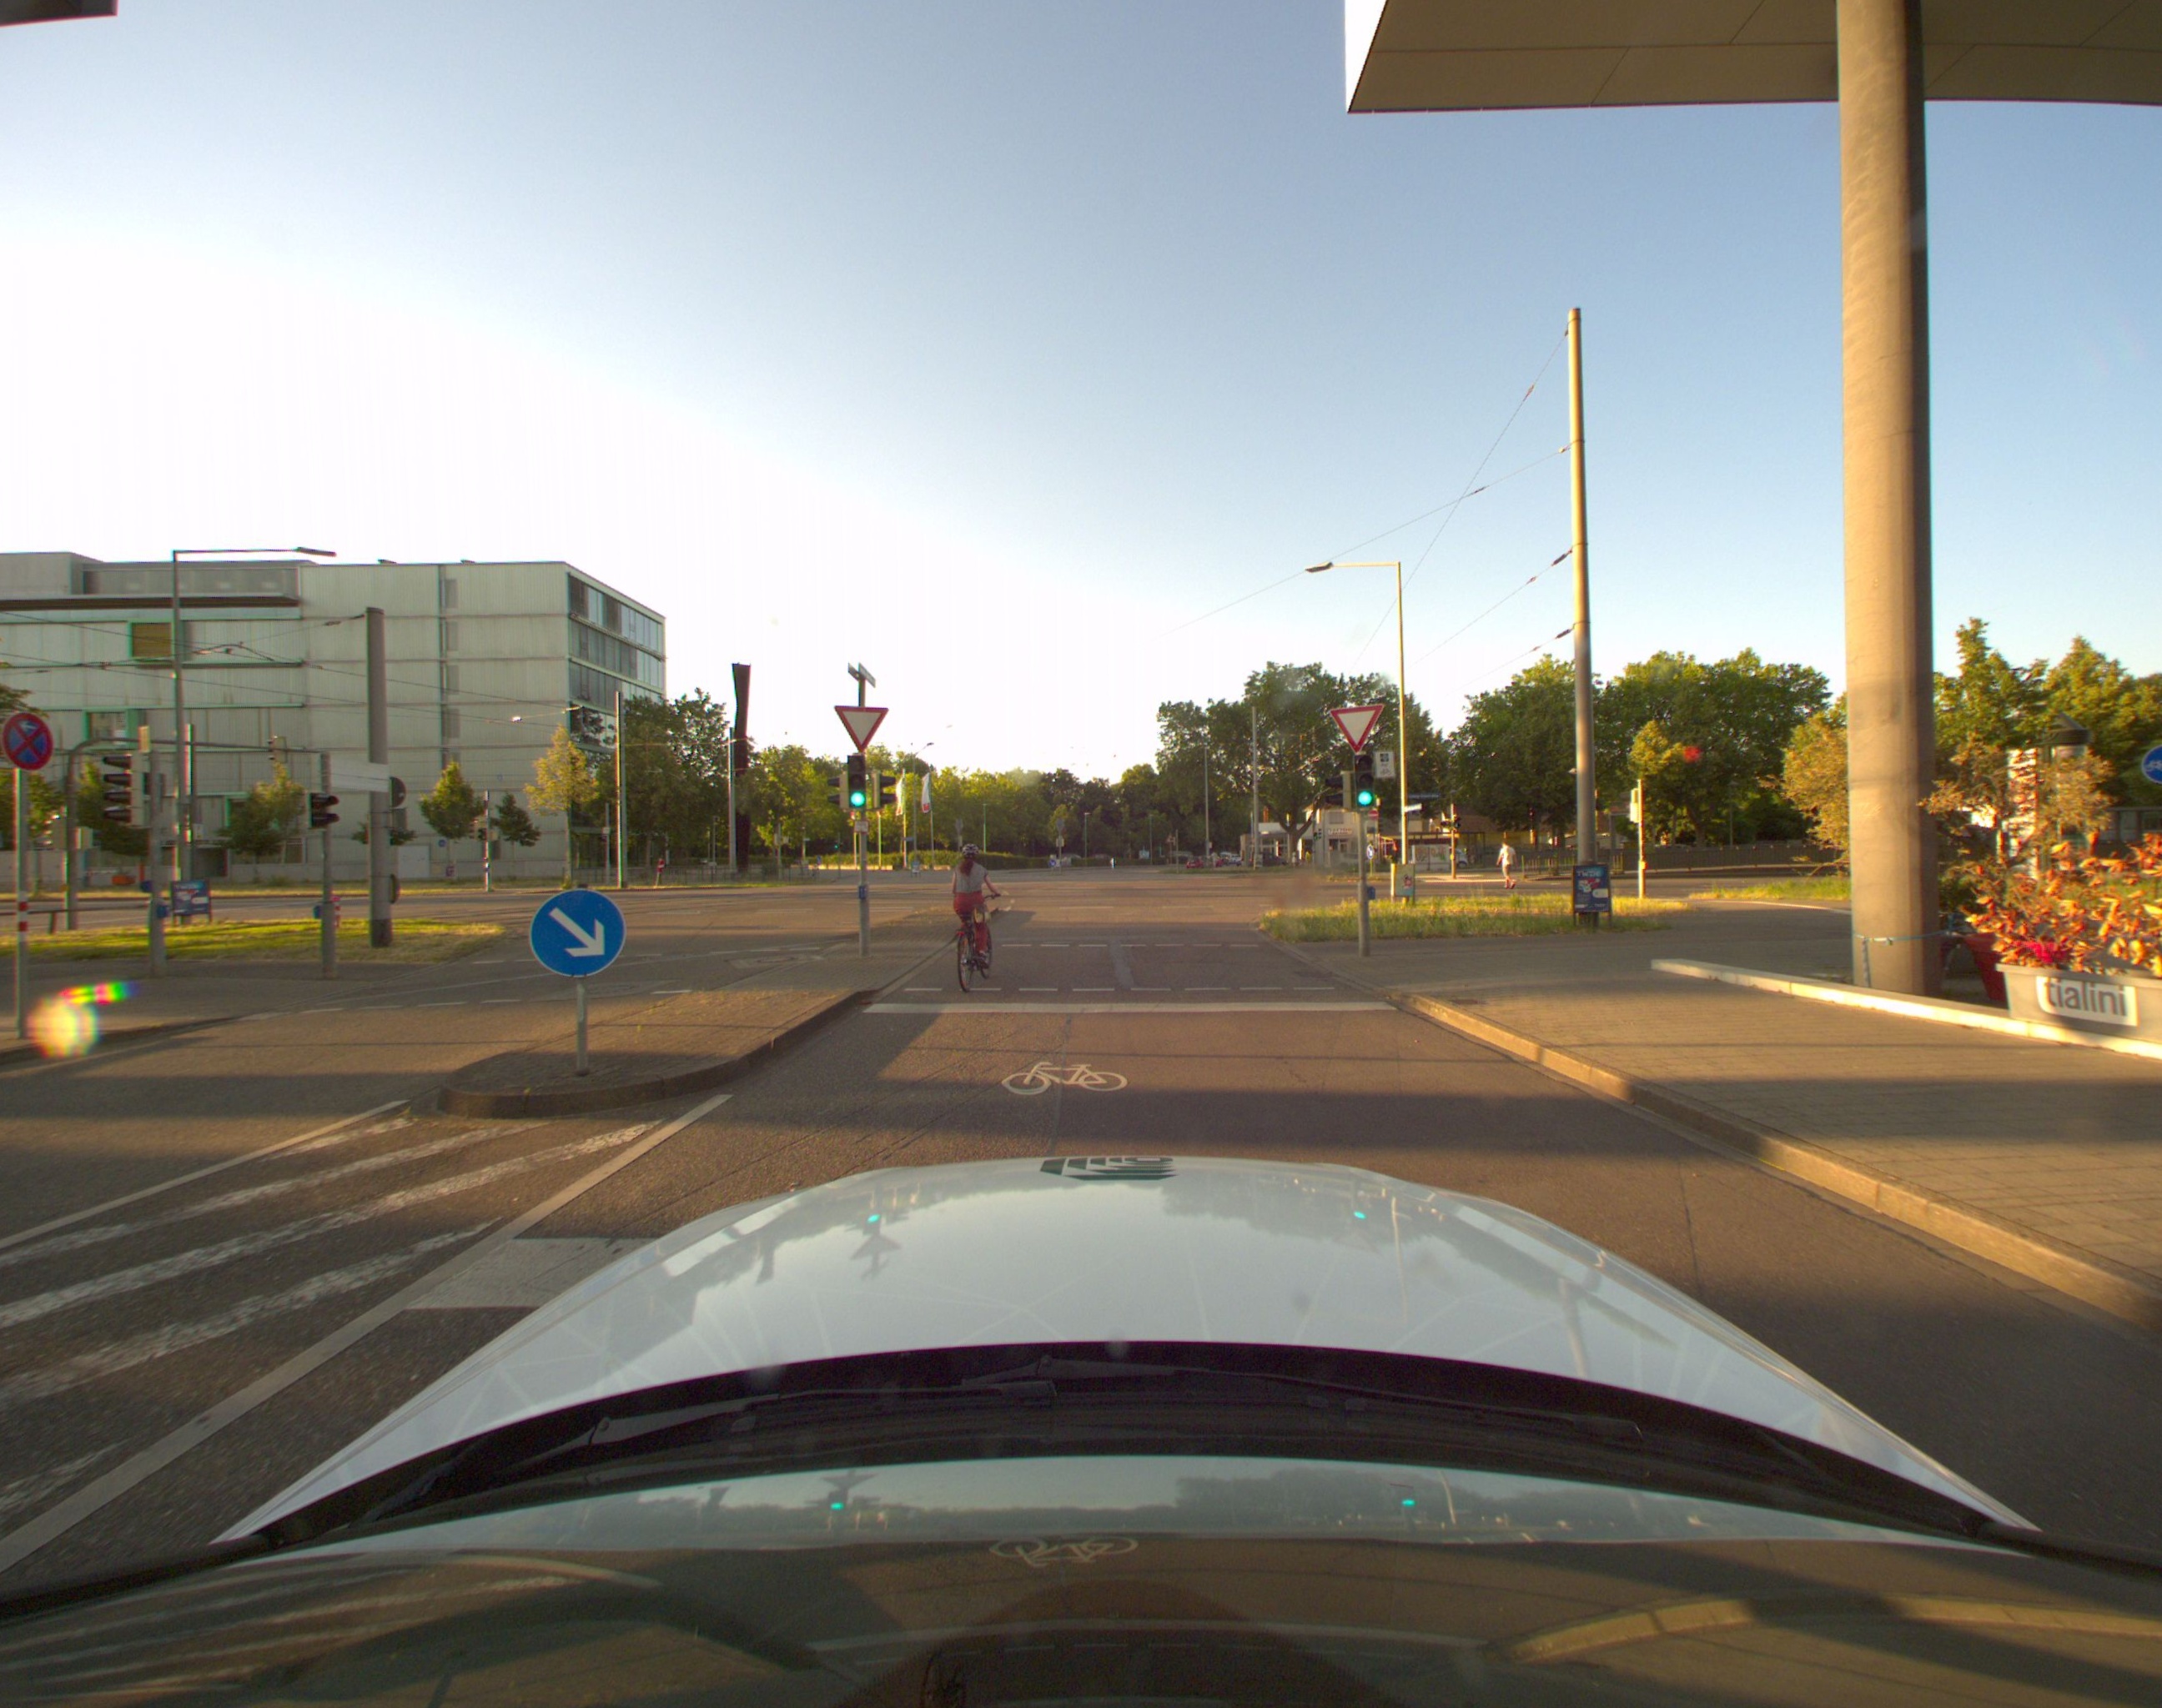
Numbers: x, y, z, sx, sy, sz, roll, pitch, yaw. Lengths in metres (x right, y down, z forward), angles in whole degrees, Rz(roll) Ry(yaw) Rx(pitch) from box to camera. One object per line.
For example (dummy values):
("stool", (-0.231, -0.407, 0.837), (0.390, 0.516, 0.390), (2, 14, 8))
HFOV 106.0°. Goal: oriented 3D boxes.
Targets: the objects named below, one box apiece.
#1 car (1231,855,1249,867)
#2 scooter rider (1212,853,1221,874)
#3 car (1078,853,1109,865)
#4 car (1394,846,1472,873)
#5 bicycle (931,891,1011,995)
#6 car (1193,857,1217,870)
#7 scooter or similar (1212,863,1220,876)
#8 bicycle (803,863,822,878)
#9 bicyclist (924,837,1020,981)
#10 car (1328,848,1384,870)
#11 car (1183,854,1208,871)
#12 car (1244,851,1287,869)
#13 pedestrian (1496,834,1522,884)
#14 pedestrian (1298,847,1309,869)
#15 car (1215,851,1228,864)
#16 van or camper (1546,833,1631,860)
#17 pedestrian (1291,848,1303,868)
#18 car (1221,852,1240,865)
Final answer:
("car", (22.213, 1.029, 113.648), (1.899, 1.602, 4.020), (-1, 0, 20))
("scooter rider", (12.241, 0.886, 73.774), (0.699, 1.855, 0.669), (-1, -1, 1))
("car", (1.709, 0.631, 108.279), (3.970, 1.561, 2.002), (-1, 0, 3))
("car", (23.735, 0.338, 55.012), (4.522, 1.728, 1.860), (-1, 0, -3))
("bicycle", (-1.331, 1.056, 10.258), (0.632, 1.068, 2.123), (-1, 0, 2))
("car", (14.873, 1.127, 97.882), (1.976, 1.574, 4.021), (-1, 0, 22))
("scooter or similar", (12.232, 1.397, 73.710), (0.508, 1.090, 1.243), (-1, 0, 2))
("bicycle", (-20.617, 1.264, 62.546), (0.697, 1.136, 2.392), (-1, 0, -1))
("bicyclist", (-1.344, 0.662, 10.257), (1.028, 1.718, 0.996), (-1, 0, 1))
("car", (23.779, 0.458, 70.604), (4.210, 1.846, 2.002), (-1, 0, 4))
("car", (13.237, 0.999, 94.077), (1.852, 1.874, 3.896), (-1, 0, 23))
("car", (19.751, 0.655, 87.214), (4.354, 1.835, 1.952), (-1, 0, 7))
("pedestrian", (15.526, 0.184, 29.517), (0.754, 1.791, 0.807), (0, 0, 32))
("pedestrian", (18.035, 0.328, 66.069), (0.712, 1.754, 0.903), (-1, 0, 26))
("car", (22.356, 0.501, 129.399), (1.982, 2.013, 4.010), (-1, 0, 9))
("van or camper", (48.081, -0.682, 77.248), (6.530, 2.410, 2.268), (-1, -1, 6))
("pedestrian", (17.820, 0.334, 67.226), (0.712, 1.639, 0.903), (-1, 0, 26))
("car", (24.635, 0.698, 133.808), (1.975, 2.013, 4.024), (-1, 0, 27))
